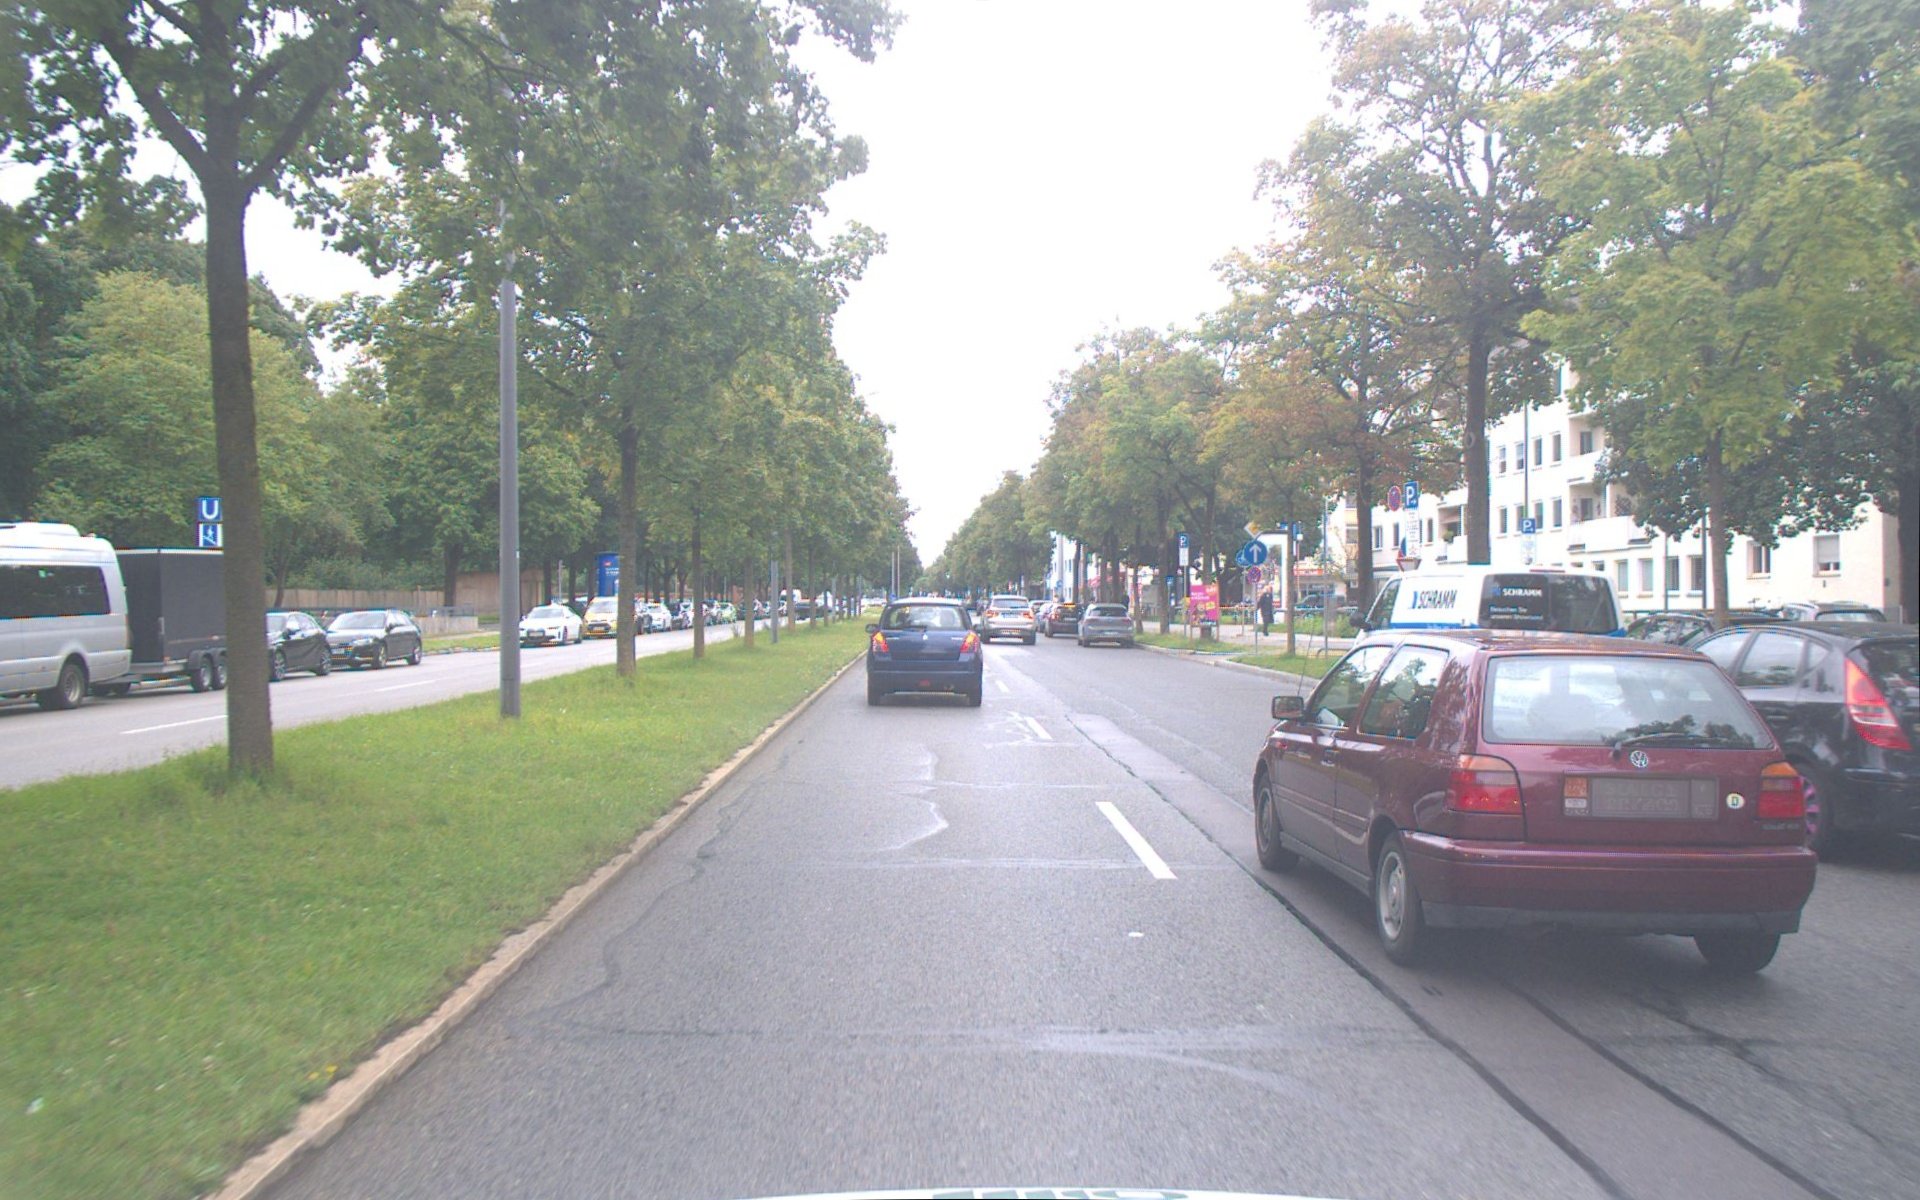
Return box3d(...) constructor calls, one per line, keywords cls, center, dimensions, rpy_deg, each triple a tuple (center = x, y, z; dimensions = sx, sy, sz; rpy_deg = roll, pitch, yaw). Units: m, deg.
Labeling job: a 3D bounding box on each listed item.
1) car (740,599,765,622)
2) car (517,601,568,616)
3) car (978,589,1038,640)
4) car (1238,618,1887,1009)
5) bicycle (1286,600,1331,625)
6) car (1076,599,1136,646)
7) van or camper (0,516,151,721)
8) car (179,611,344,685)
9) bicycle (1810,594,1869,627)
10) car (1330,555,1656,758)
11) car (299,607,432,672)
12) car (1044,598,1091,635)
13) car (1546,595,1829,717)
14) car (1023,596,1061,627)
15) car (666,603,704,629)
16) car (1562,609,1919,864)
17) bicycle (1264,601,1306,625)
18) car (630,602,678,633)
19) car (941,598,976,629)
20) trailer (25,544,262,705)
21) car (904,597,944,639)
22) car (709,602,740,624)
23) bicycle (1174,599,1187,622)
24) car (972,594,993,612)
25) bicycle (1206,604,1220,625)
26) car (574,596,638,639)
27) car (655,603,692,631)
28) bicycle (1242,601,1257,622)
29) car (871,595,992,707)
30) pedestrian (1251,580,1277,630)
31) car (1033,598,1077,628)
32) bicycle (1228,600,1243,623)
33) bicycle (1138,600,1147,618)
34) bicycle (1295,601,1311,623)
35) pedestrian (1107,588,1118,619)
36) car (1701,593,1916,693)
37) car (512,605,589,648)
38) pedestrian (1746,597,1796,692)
box3d(cls="car", center=(-16.813, 0.841, 134.172), dimensions=(1.682, 1.771, 3.877), rpy_deg=(1, 0, -2))
box3d(cls="car", center=(-41.578, 0.870, 164.851), dimensions=(4.595, 1.471, 1.672), rpy_deg=(1, 0, -1))
box3d(cls="car", center=(1.655, 0.497, 58.396), dimensions=(1.828, 1.690, 4.405), rpy_deg=(1, 0, -2))
box3d(cls="car", center=(2.606, 0.829, 8.187), dimensions=(1.648, 1.408, 3.917), rpy_deg=(1, 0, -2))
box3d(cls="bicycle", center=(14.975, 0.524, 70.993), dimensions=(1.842, 1.046, 0.432), rpy_deg=(-1, 0, -7))
box3d(cls="car", center=(4.972, 0.738, 56.691), dimensions=(1.647, 1.491, 4.114), rpy_deg=(1, 0, 0))
box3d(cls="van or camper", center=(-14.515, 0.289, 23.878), dimensions=(1.994, 2.887, 7.545), rpy_deg=(-2, 0, -1))
box3d(cls="car", center=(-14.913, 0.989, 35.556), dimensions=(1.764, 1.408, 4.237), rpy_deg=(-2, 0, -1))
box3d(cls="bicycle", center=(27.343, 0.315, 51.424), dimensions=(1.658, 0.988, 0.455), rpy_deg=(-1, 0, -5))
box3d(cls="car", center=(5.806, 0.550, 18.752), dimensions=(1.843, 1.961, 4.930), rpy_deg=(1, 0, -3))
box3d(cls="car", center=(-14.858, 0.957, 41.599), dimensions=(1.764, 1.450, 4.430), rpy_deg=(-2, 0, -1))
box3d(cls="car", center=(4.542, 0.692, 70.551), dimensions=(1.715, 1.491, 4.176), rpy_deg=(1, 0, 0))
box3d(cls="car", center=(9.730, 0.685, 22.558), dimensions=(1.693, 1.457, 4.690), rpy_deg=(1, 0, -1))
box3d(cls="car", center=(4.293, 0.594, 86.904), dimensions=(1.682, 1.560, 4.274), rpy_deg=(1, 0, -1))
box3d(cls="car", center=(-16.188, 0.928, 97.553), dimensions=(1.574, 1.469, 4.278), rpy_deg=(-2, 0, -1))
box3d(cls="car", center=(6.007, 0.840, 11.910), dimensions=(1.662, 1.474, 4.039), rpy_deg=(1, 0, -3))
box3d(cls="bicycle", center=(14.821, 0.575, 75.400), dimensions=(1.840, 1.046, 0.432), rpy_deg=(-1, 0, -5))
box3d(cls="car", center=(-15.967, 0.895, 86.435), dimensions=(1.727, 1.475, 4.531), rpy_deg=(-2, 0, -2))
box3d(cls="car", center=(-0.093, 0.665, 82.917), dimensions=(1.648, 1.488, 3.733), rpy_deg=(0, 0, -1))
box3d(cls="trailer", center=(-14.610, 0.398, 29.931), dimensions=(1.976, 2.635, 4.657), rpy_deg=(-2, 0, -1))
box3d(cls="car", center=(-1.331, 0.633, 60.513), dimensions=(1.415, 1.509, 3.105), rpy_deg=(0, 0, -2))
box3d(cls="car", center=(-16.644, 0.892, 116.939), dimensions=(1.515, 1.434, 3.880), rpy_deg=(-2, 0, 1))
box3d(cls="bicycle", center=(11.448, 0.546, 85.939), dimensions=(0.422, 1.153, 1.883), rpy_deg=(-1, 0, 0))
box3d(cls="car", center=(2.191, 0.248, 160.936), dimensions=(1.828, 1.712, 4.222), rpy_deg=(-1, 0, -3))
box3d(cls="bicycle", center=(12.842, 0.737, 83.918), dimensions=(0.422, 1.046, 1.883), rpy_deg=(-1, 0, 0))
box3d(cls="car", center=(-15.706, 0.740, 73.666), dimensions=(1.777, 1.814, 4.817), rpy_deg=(-2, 0, 0))
box3d(cls="car", center=(-15.856, 0.908, 91.635), dimensions=(1.581, 1.442, 3.895), rpy_deg=(-2, 0, -3))
box3d(cls="bicycle", center=(14.631, 0.593, 83.627), dimensions=(0.422, 1.046, 1.883), rpy_deg=(-1, 0, 0))
box3d(cls="car", center=(-0.465, 0.699, 24.748), dimensions=(1.648, 1.528, 3.917), rpy_deg=(0, 0, -2))
box3d(cls="pedestrian", center=(10.699, 0.169, 58.202), dimensions=(0.632, 1.760, 0.595), rpy_deg=(1, -1, -29))
box3d(cls="car", center=(4.593, 0.619, 80.803), dimensions=(1.603, 1.410, 4.241), rpy_deg=(1, 0, -4))
box3d(cls="bicycle", center=(13.942, 0.564, 83.706), dimensions=(0.422, 1.120, 1.883), rpy_deg=(-1, 0, 0))
box3d(cls="bicycle", center=(11.585, 0.580, 105.036), dimensions=(0.381, 1.124, 1.853), rpy_deg=(1, 0, 0))
box3d(cls="bicycle", center=(17.354, 0.599, 83.718), dimensions=(0.422, 1.046, 1.883), rpy_deg=(-1, 0, 0))
box3d(cls="pedestrian", center=(9.728, 0.225, 105.492), dimensions=(0.576, 1.923, 0.901), rpy_deg=(-1, -1, -2))
box3d(cls="car", center=(15.315, 0.732, 30.114), dimensions=(1.784, 1.662, 4.198), rpy_deg=(-1, 0, 1))
box3d(cls="car", center=(-15.536, 0.988, 63.014), dimensions=(1.819, 1.498, 4.873), rpy_deg=(-2, 0, -2))
box3d(cls="pedestrian", center=(13.991, 0.755, 28.547), dimensions=(0.643, 1.622, 0.755), rpy_deg=(0, 0, 17))
